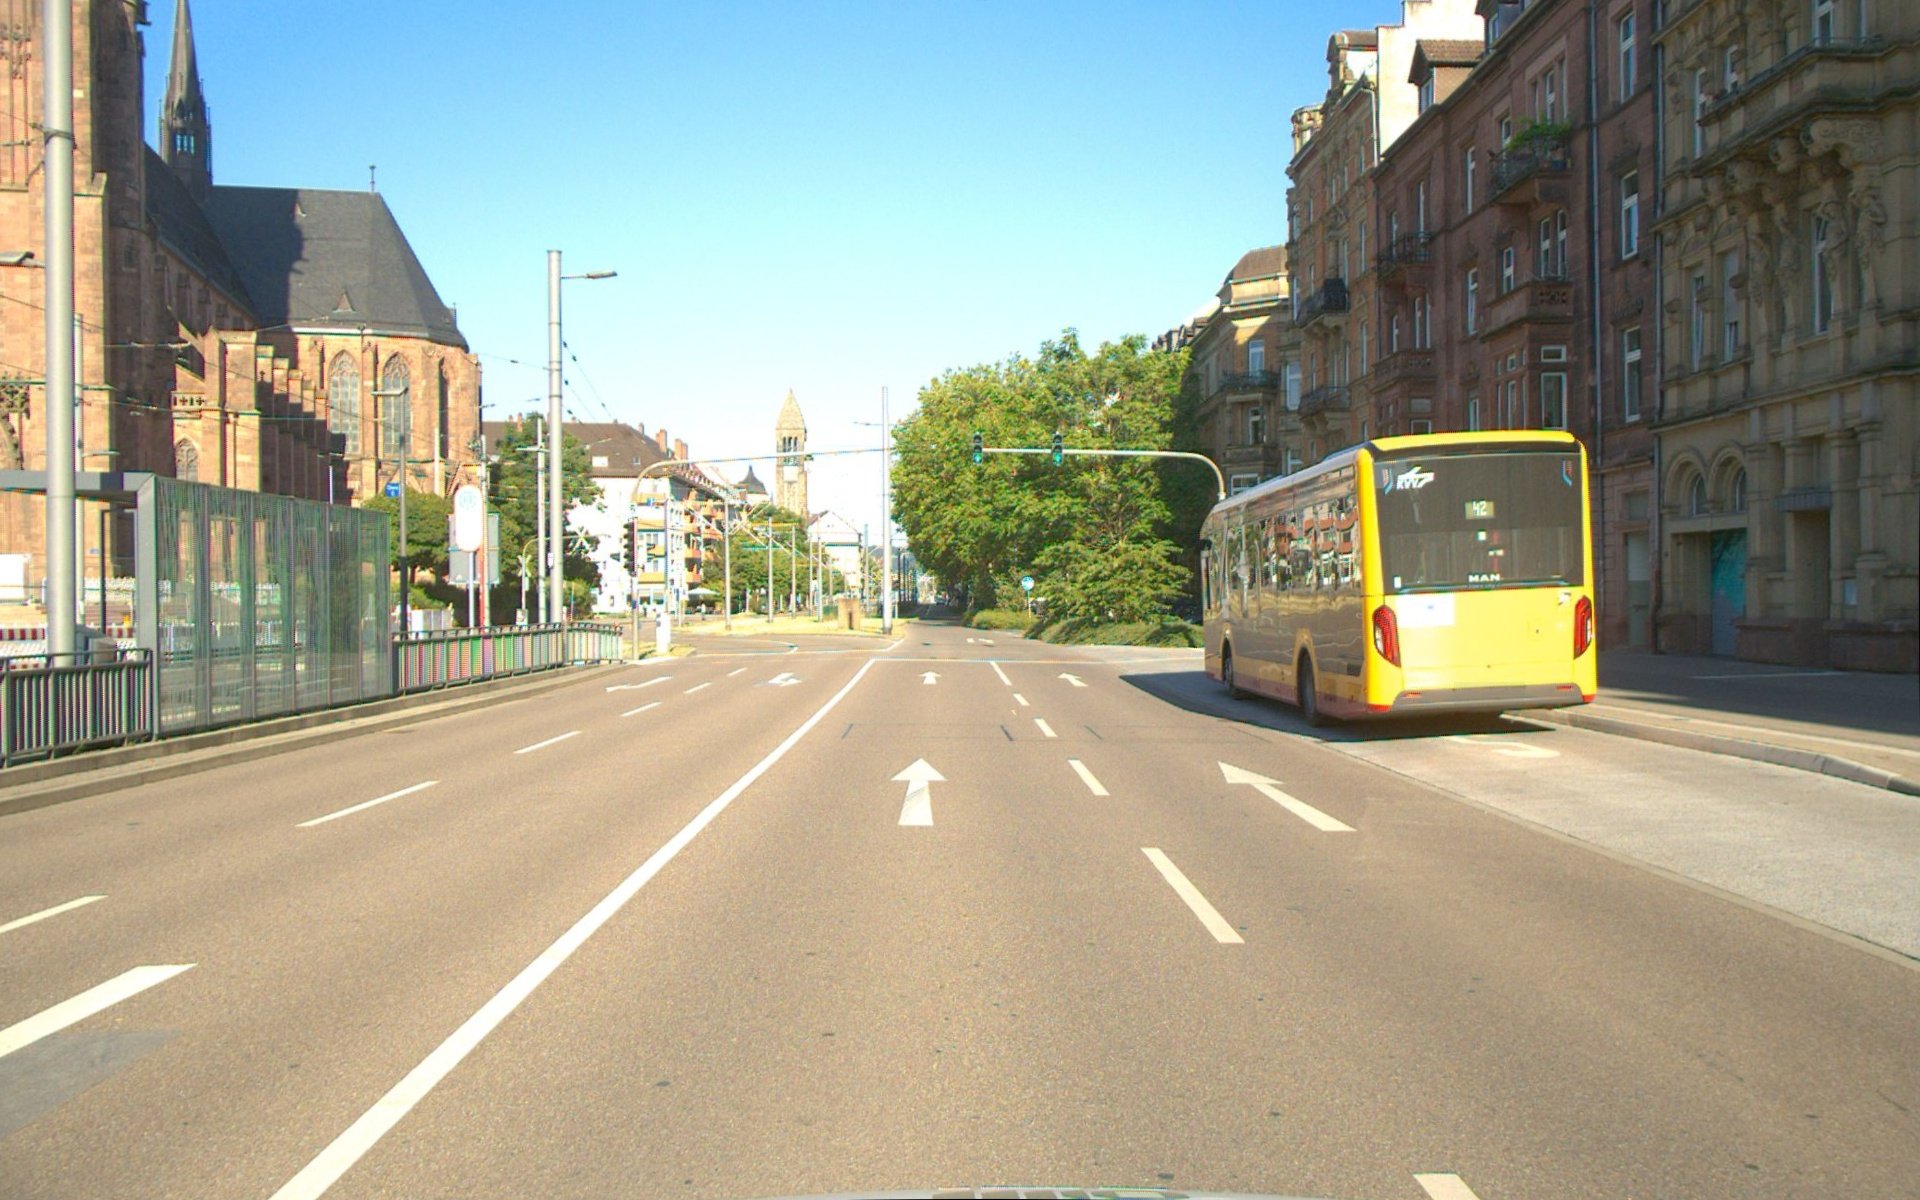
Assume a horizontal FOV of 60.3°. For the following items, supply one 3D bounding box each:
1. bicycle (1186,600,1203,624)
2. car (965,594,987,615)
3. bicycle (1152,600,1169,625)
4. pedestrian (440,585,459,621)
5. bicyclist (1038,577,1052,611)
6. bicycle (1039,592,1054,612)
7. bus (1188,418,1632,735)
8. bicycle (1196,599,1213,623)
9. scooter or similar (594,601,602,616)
[{"bbox_3d":[11.530,0.573,81.321,0.507,1.066,1.821,-2,3,-2],"label":"bicycle"},{"bbox_3d":[1.240,0.317,129.565,1.610,1.537,4.182,-2,1,0],"label":"car"},{"bbox_3d":[9.842,0.613,81.248,0.507,1.066,1.821,-2,3,-2],"label":"bicycle"},{"bbox_3d":[-27.171,0.156,88.007,0.713,1.804,0.863,-2,3,-4],"label":"pedestrian"},{"bbox_3d":[4.786,-0.322,92.806,0.628,1.846,1.052,-2,-1,-2],"label":"bicyclist"},{"bbox_3d":[4.834,0.096,92.799,0.628,1.066,2.359,-2,-1,-2],"label":"bicycle"},{"bbox_3d":[5.591,-0.285,23.614,2.660,3.236,12.539,-2,0,-1],"label":"bus"},{"bbox_3d":[12.138,0.515,82.025,0.507,1.066,1.821,-2,3,-2],"label":"bicycle"},{"bbox_3d":[-32.148,0.741,147.074,0.393,1.283,1.231,-2,3,0],"label":"scooter or similar"}]
